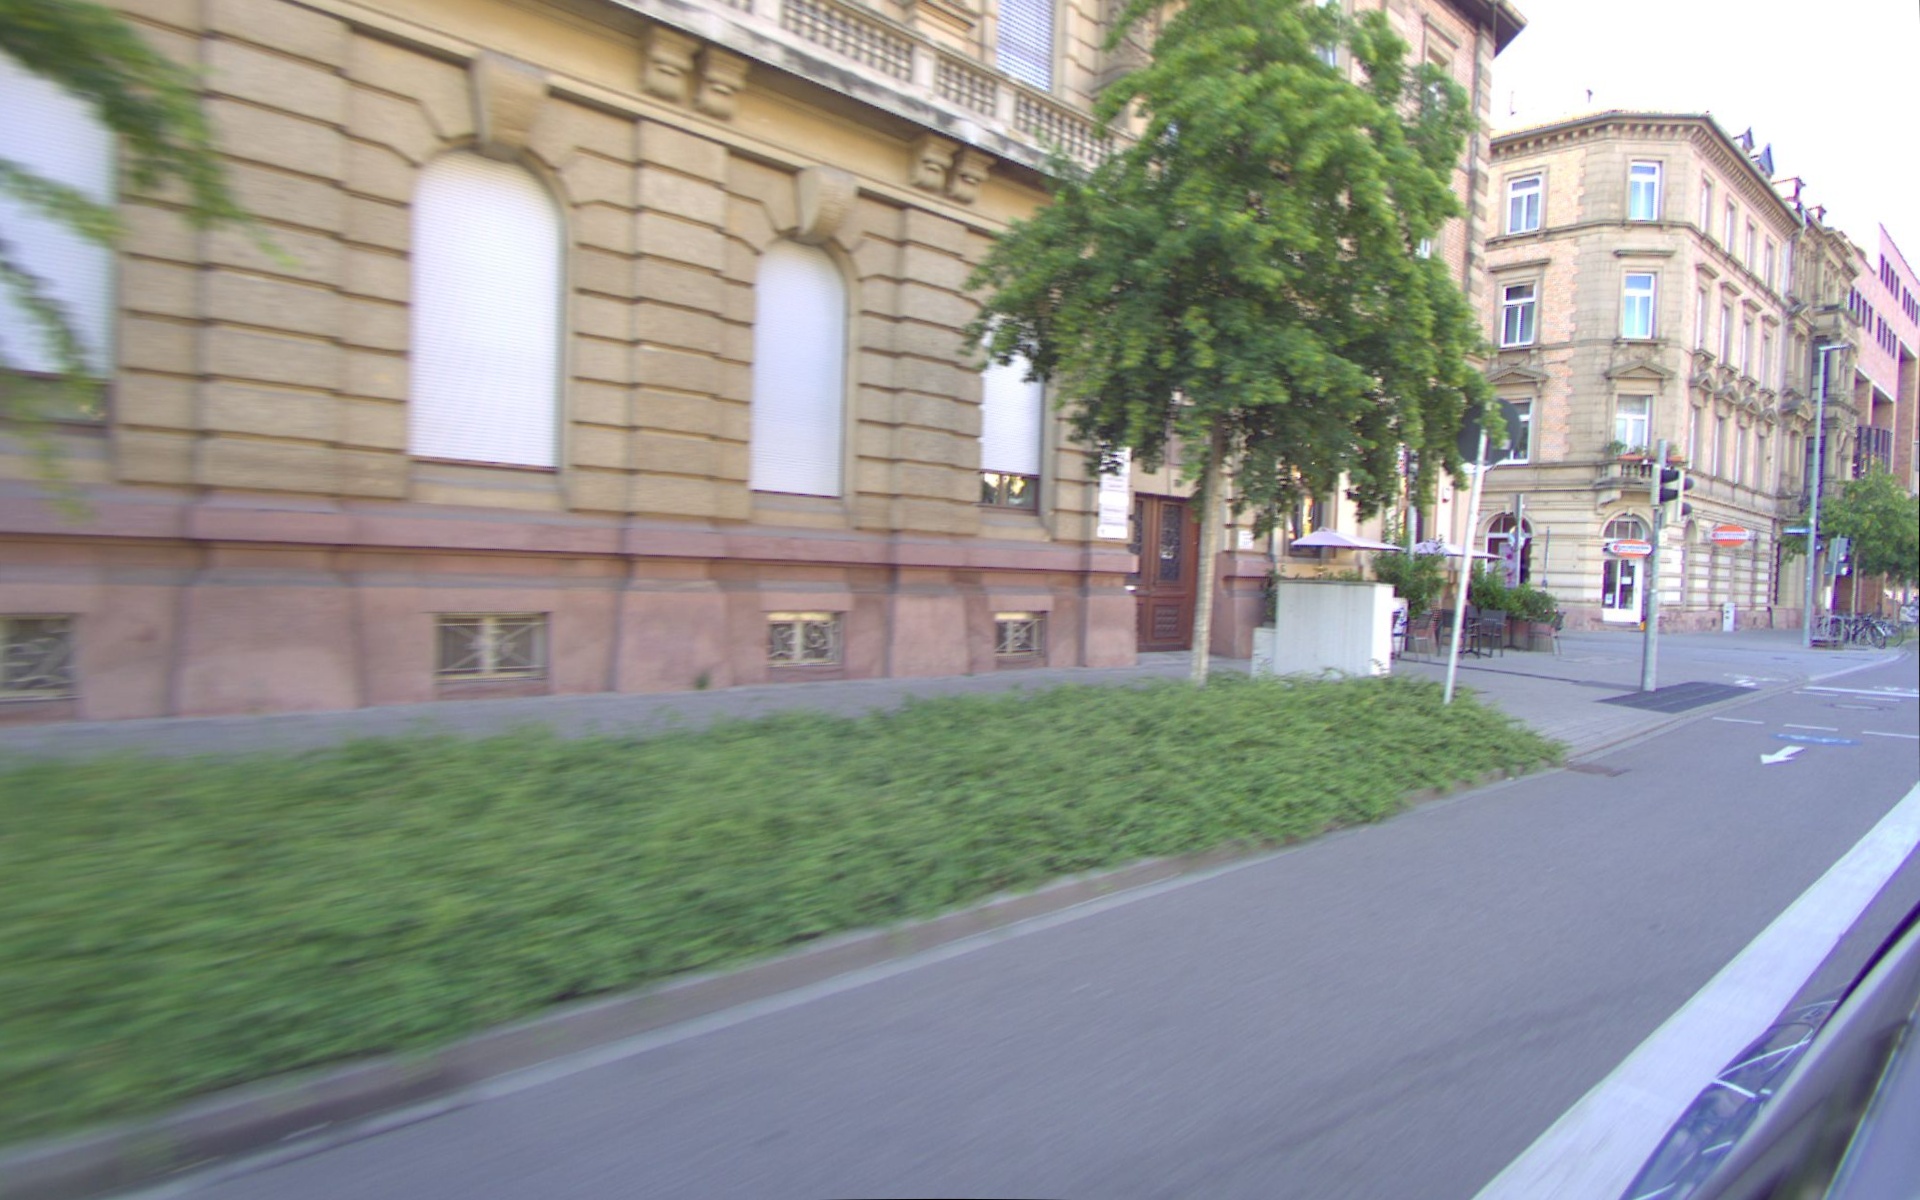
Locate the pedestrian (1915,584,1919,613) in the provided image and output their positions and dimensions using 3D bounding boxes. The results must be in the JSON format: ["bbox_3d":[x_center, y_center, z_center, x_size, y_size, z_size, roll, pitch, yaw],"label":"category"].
[{"bbox_3d":[60.326,-0.072,63.360,0.531,1.778,0.419,2,2,20],"label":"pedestrian"}]

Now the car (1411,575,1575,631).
[{"bbox_3d":[16.024,0.074,30.535,4.135,1.405,1.595,4,1,39],"label":"car"}]

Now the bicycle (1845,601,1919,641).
[{"bbox_3d":[30.314,0.672,33.194,0.653,1.077,1.828,1,5,-45],"label":"bicycle"}]

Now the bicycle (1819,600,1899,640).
[{"bbox_3d":[29.003,0.626,32.666,0.653,1.077,1.828,1,5,-45],"label":"bicycle"}]

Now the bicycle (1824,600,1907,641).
[{"bbox_3d":[28.182,0.622,31.523,0.653,1.077,1.828,1,5,-45],"label":"bicycle"}]

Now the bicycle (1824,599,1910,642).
[{"bbox_3d":[27.228,0.611,30.405,0.653,1.077,1.828,1,5,-45],"label":"bicycle"}]
